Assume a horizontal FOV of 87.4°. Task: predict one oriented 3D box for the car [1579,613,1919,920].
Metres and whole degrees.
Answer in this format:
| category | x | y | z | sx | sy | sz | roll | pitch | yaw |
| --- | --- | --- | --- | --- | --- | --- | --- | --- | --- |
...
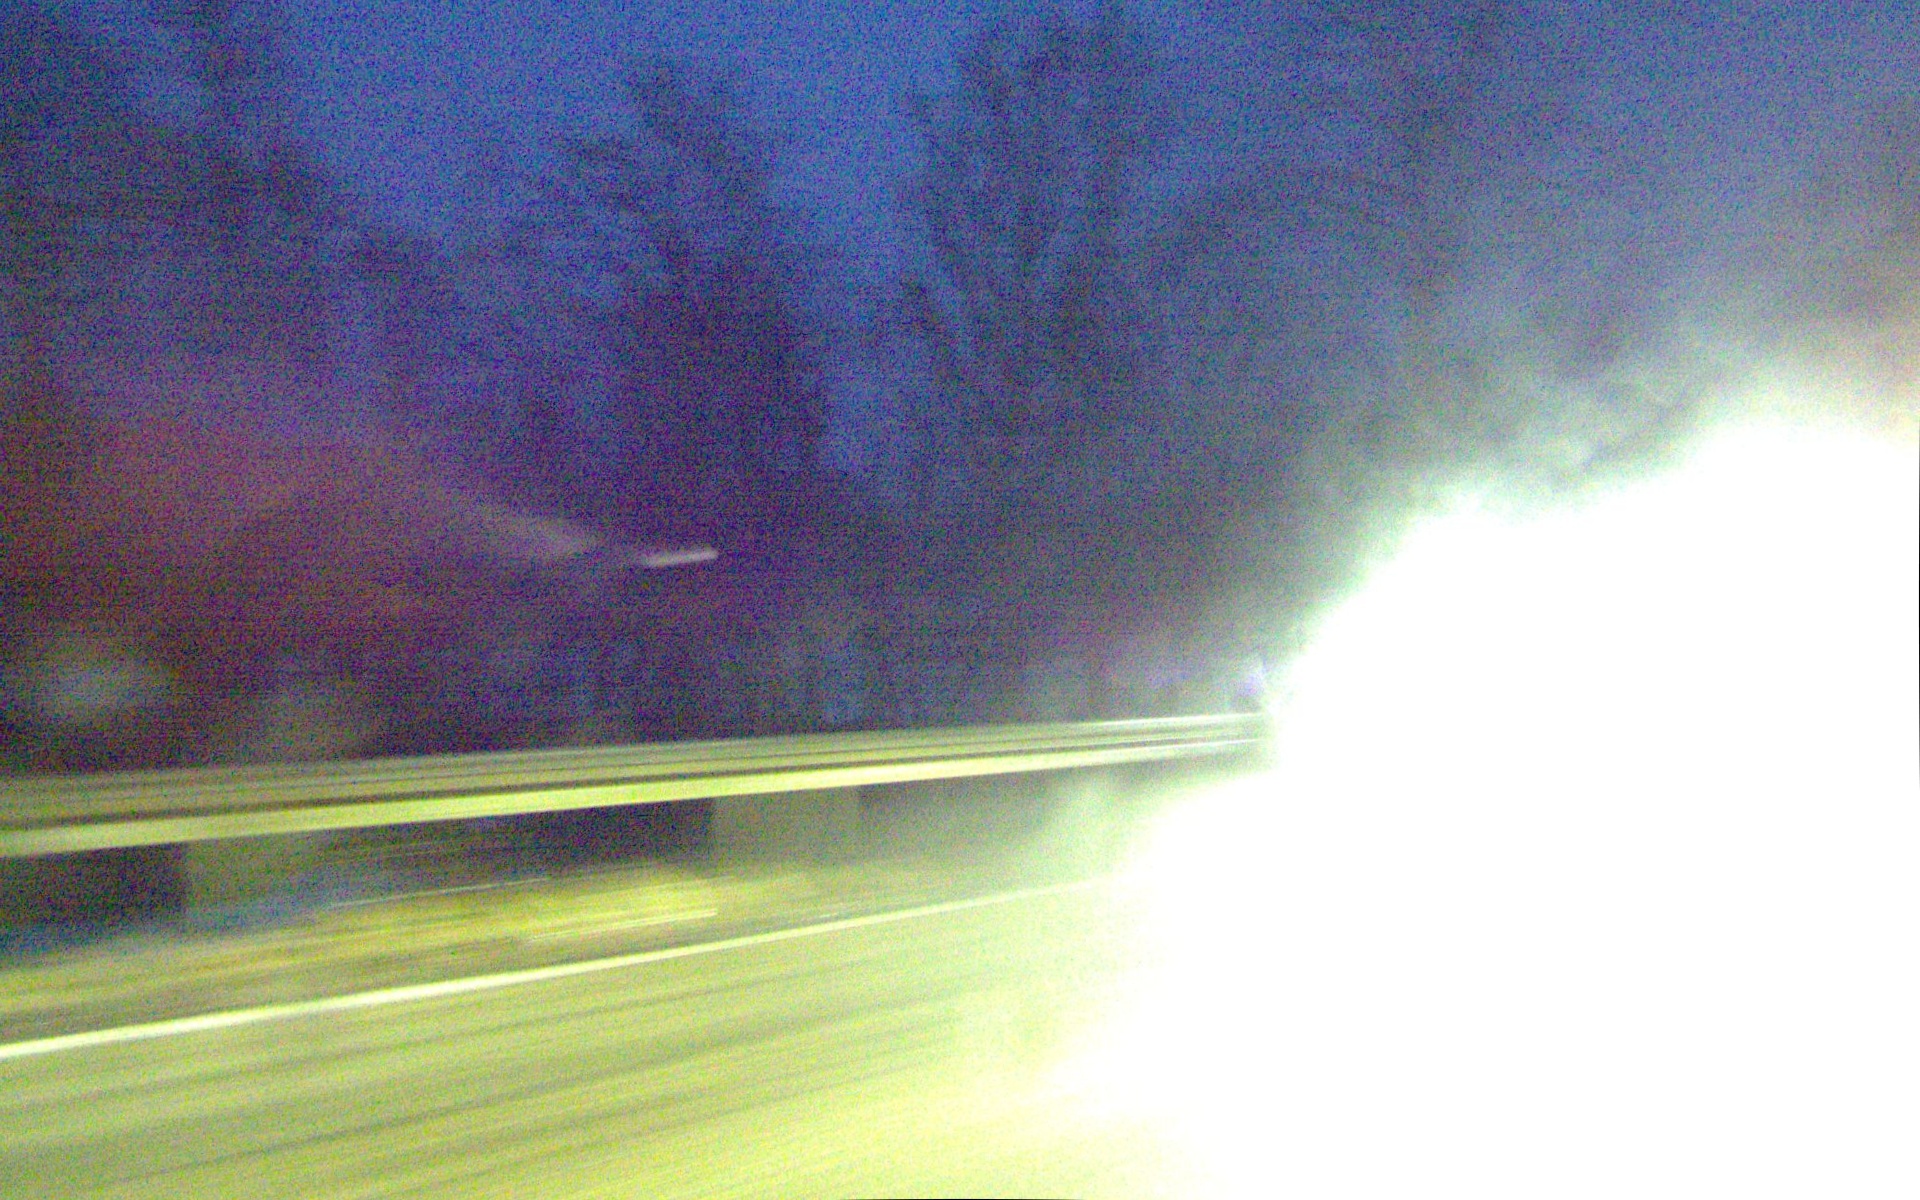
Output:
| category | x | y | z | sx | sy | sz | roll | pitch | yaw |
| --- | --- | --- | --- | --- | --- | --- | --- | --- | --- |
| car | 5.861 | 0.872 | 6.666 | 3.561 | 1.530 | 1.586 | 0 | -2 | -33 |
